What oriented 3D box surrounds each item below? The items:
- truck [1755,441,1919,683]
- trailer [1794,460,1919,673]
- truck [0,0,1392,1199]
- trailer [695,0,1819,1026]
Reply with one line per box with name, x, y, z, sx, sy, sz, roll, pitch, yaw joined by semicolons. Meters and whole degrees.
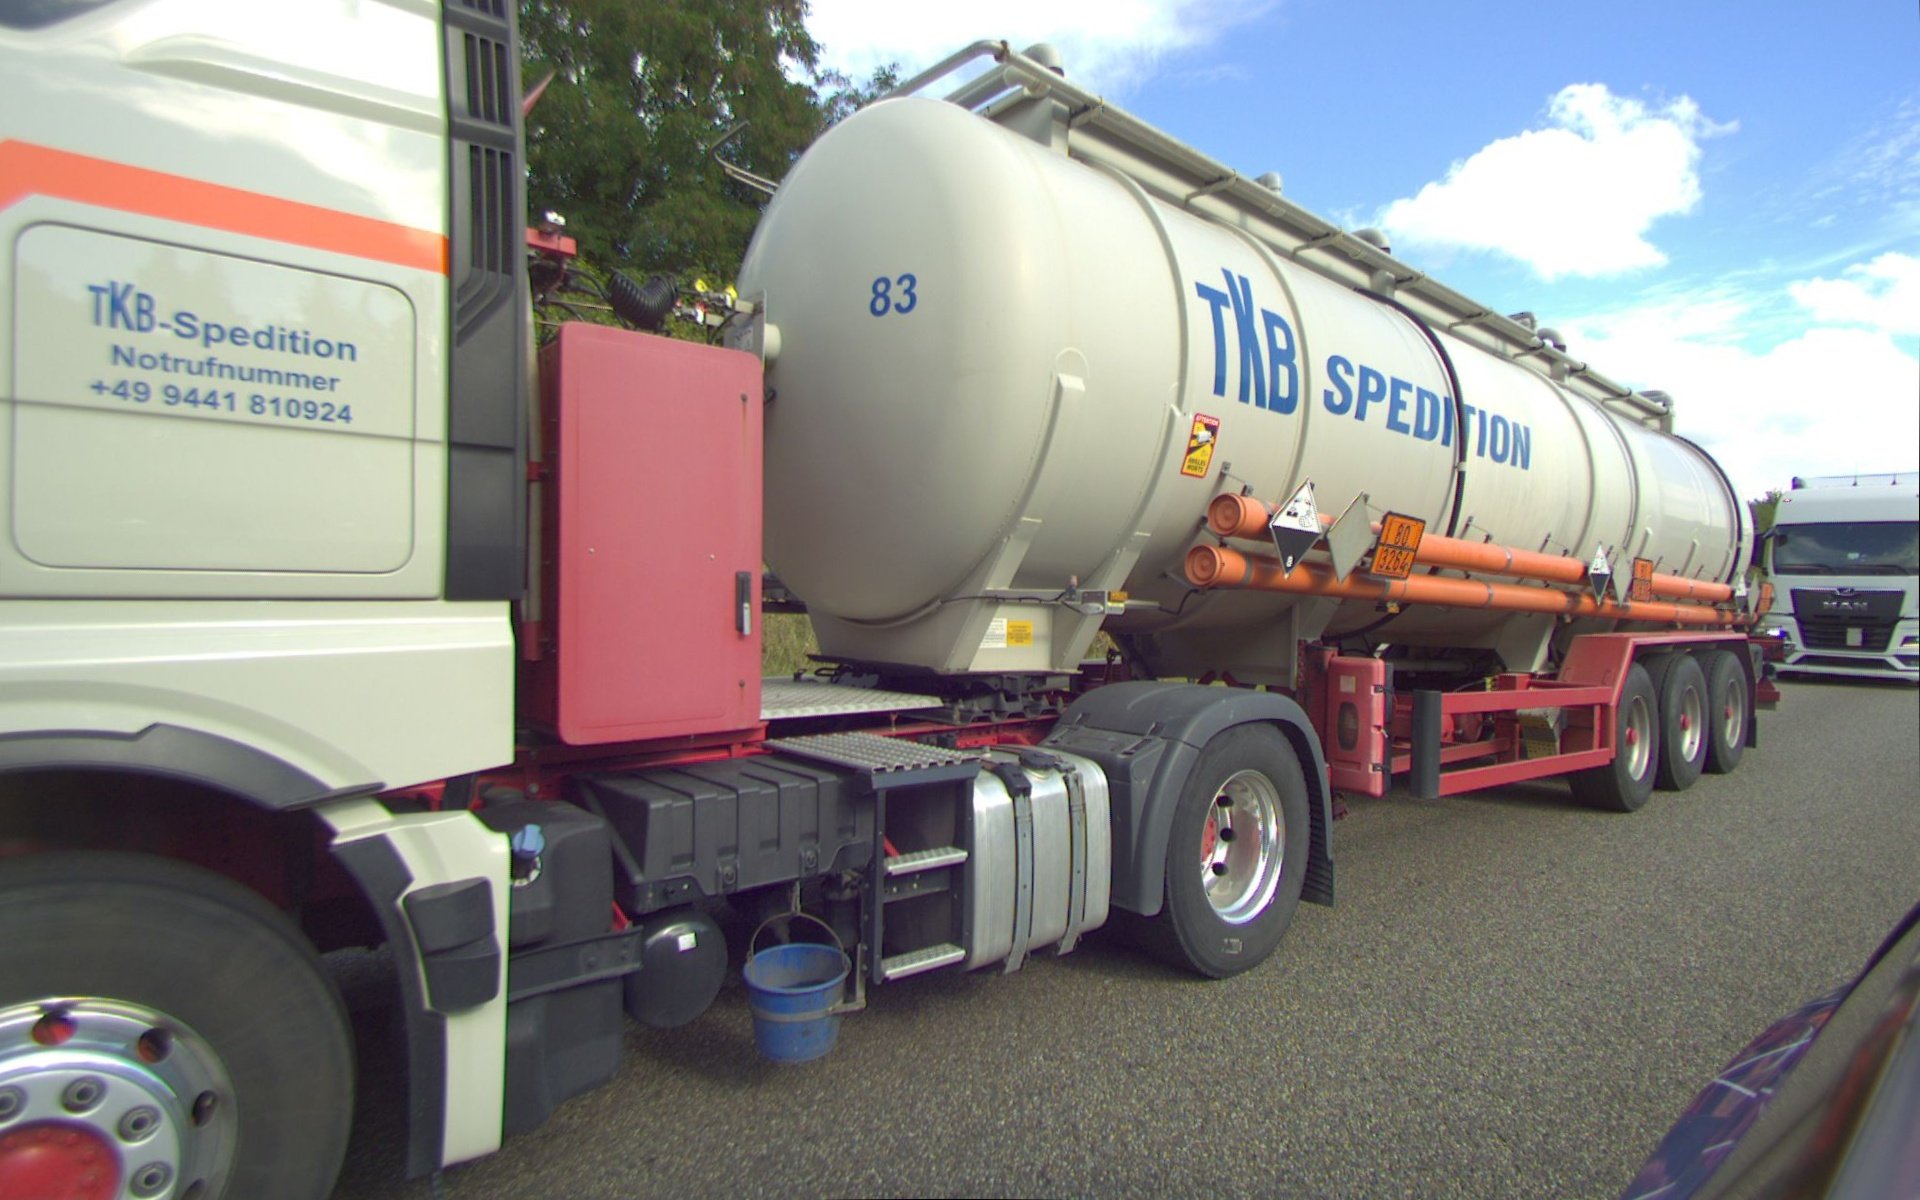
truck;17.937;-0.664;19.687;5.607;4.123;2.839;0;0;-40
trailer;23.295;-0.676;24.303;13.136;4.122;2.831;0;1;-41
truck;-1.212;-0.697;3.629;5.800;4.094;2.808;0;0;-40
trailer;3.680;-0.743;7.812;10.985;4.077;2.803;0;0;-41
